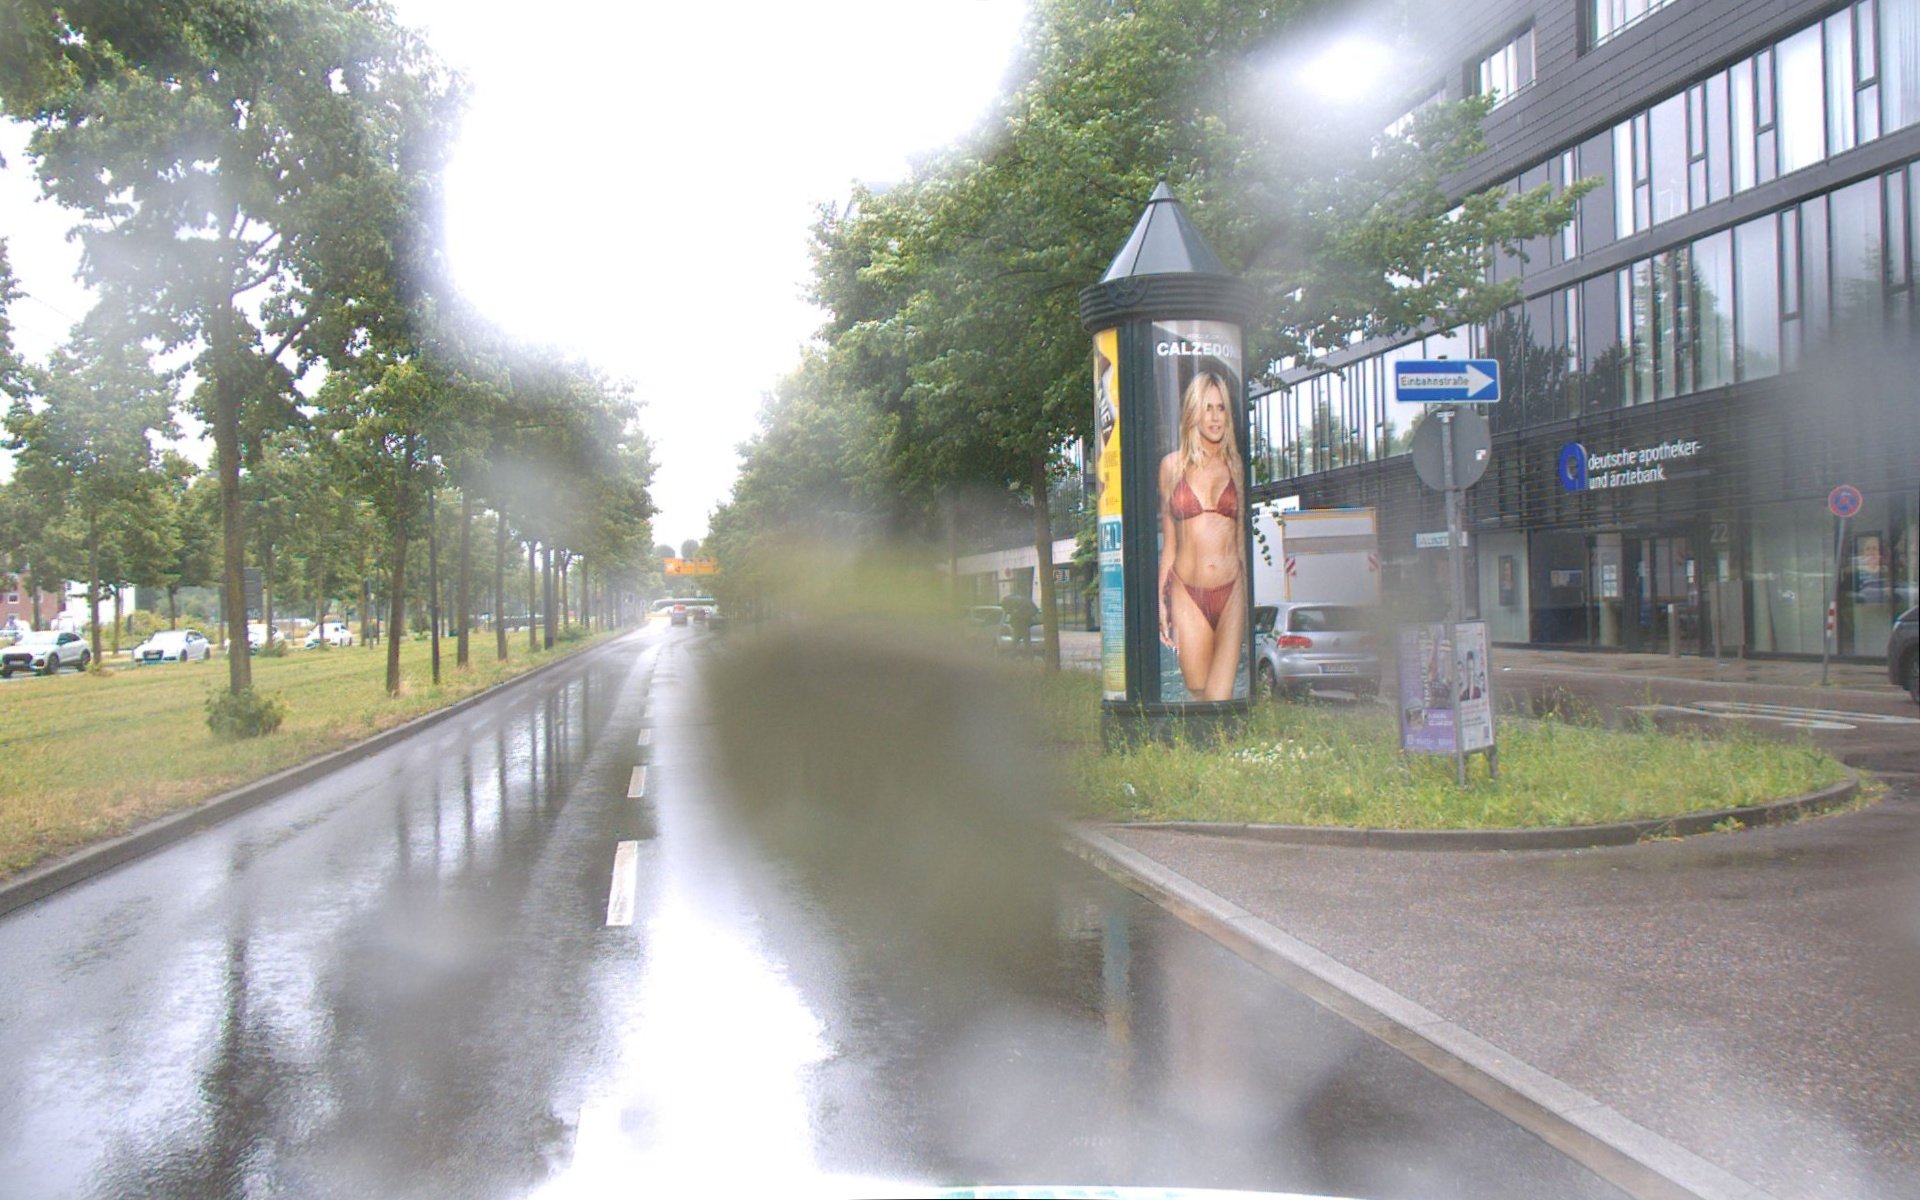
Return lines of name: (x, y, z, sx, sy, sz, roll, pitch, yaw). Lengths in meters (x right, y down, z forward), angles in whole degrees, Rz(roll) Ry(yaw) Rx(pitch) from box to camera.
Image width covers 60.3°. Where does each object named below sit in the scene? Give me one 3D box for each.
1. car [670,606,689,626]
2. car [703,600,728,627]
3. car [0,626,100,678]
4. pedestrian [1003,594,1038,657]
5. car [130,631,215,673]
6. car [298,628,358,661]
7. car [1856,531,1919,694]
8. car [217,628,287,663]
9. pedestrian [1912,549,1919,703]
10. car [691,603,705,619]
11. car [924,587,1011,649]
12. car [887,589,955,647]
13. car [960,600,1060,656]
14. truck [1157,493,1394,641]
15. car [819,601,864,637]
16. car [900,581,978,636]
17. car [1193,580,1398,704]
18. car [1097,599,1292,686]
car: (-32.853, 1.868, 193.970, 1.956, 2.048, 3.994, -1, 2, -8)
car: (-20.212, 1.109, 136.447, 1.905, 2.048, 3.992, -2, 2, -10)
car: (-33.985, 1.906, 61.674, 1.914, 1.780, 4.569, -1, 0, -7)
pedestrian: (1.478, 0.630, 40.557, 0.685, 1.519, 0.642, -1, 0, -13)
car: (-31.668, 2.067, 66.640, 1.915, 1.540, 4.564, -1, 0, -10)
car: (-35.151, 2.434, 92.160, 1.913, 1.486, 4.825, -1, 2, -6)
car: (12.757, 0.116, 18.470, 1.959, 1.953, 5.133, -1, 0, -12)
car: (-32.286, 2.057, 75.536, 1.915, 1.478, 4.564, -1, 0, -10)
pedestrian: (11.351, 0.304, 18.740, 0.570, 1.769, 0.801, 0, 1, -13)
car: (-38.778, 1.620, 244.632, 1.956, 2.048, 3.994, -1, 2, -8)
car: (0.189, 0.533, 52.388, 1.957, 1.698, 4.713, -2, 2, -10)
car: (-1.583, 0.668, 65.462, 1.957, 1.986, 5.018, -2, 2, -10)
car: (1.355, 0.752, 46.734, 1.739, 1.477, 4.709, 0, 0, -12)
truck: (8.092, -0.782, 43.870, 2.972, 3.501, 8.520, -1, 0, -13)
car: (-6.423, 1.020, 89.462, 1.957, 1.698, 4.713, -2, 2, -10)
car: (-0.795, 0.249, 58.504, 1.957, 1.698, 4.947, -2, 2, -10)
car: (5.063, 0.568, 25.522, 1.729, 1.624, 4.091, -2, 2, -10)
car: (4.366, 0.758, 31.720, 1.959, 1.469, 5.219, -1, 0, -13)
